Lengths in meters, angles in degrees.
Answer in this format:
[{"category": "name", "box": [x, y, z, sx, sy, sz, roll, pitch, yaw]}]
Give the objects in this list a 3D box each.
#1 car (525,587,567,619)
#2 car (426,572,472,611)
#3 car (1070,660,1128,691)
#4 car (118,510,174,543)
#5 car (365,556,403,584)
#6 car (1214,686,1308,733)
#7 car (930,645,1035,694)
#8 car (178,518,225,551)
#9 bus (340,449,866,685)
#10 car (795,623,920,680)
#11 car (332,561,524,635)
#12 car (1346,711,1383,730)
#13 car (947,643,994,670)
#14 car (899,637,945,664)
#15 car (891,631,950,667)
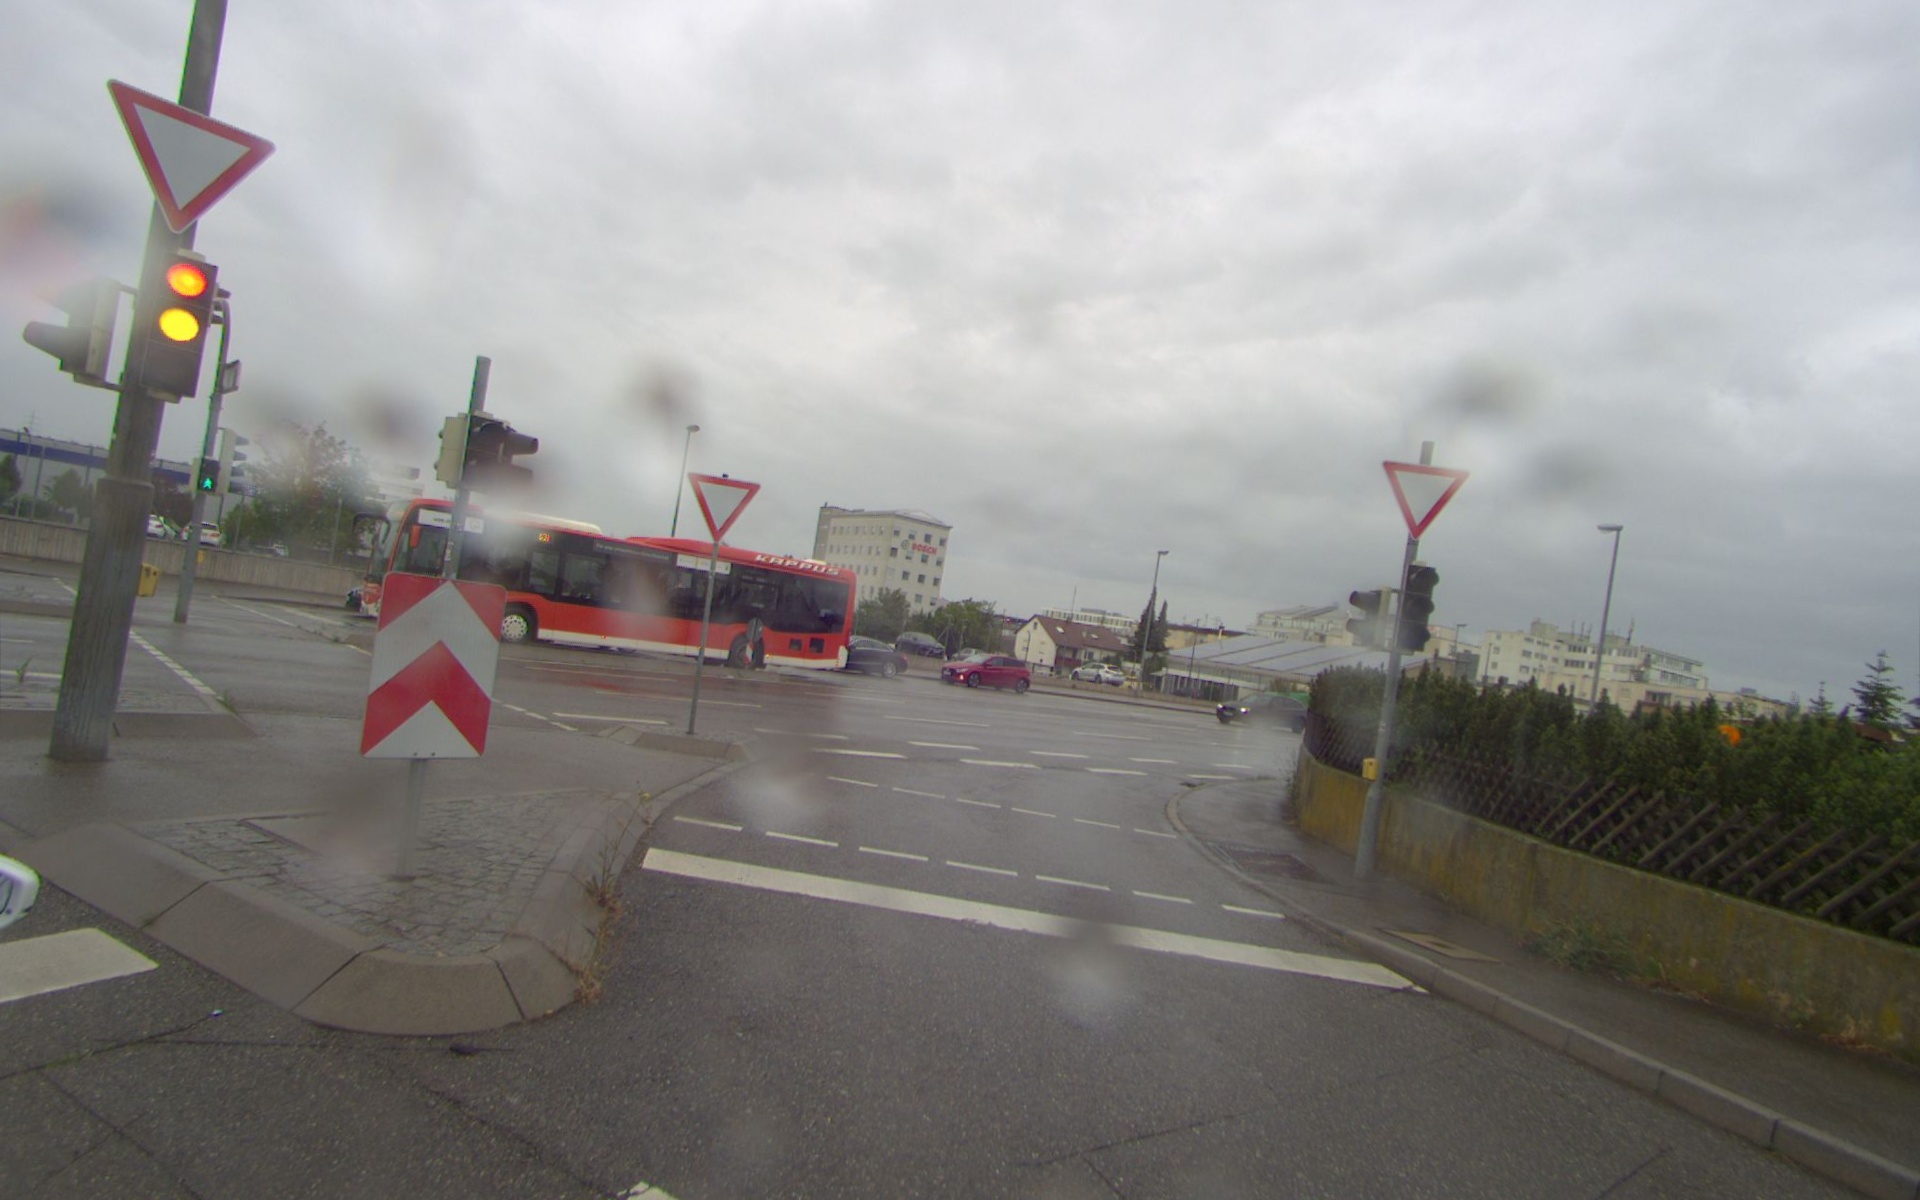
[{"category": "car", "box": [-32.470, 0.219, 78.858, 1.983, 2.037, 3.962, 8, -2, -36]}, {"category": "car", "box": [-31.170, -0.544, 61.306, 1.734, 2.037, 3.786, 8, -2, -37]}, {"category": "car", "box": [9.649, 5.222, 70.117, 1.976, 1.561, 3.977, 9, -2, -25]}, {"category": "car", "box": [-45.618, -4.107, 56.448, 1.805, 1.450, 4.071, 8, -2, -32]}, {"category": "car", "box": [-41.601, -2.181, 72.638, 1.912, 1.607, 3.754, 9, -2, -34]}, {"category": "car", "box": [12.668, 4.630, 42.255, 3.974, 1.515, 1.832, 9, -3, -41]}, {"category": "car", "box": [0.965, 2.905, 42.041, 3.948, 1.525, 1.853, 9, -2, -36]}, {"category": "car", "box": [-43.831, -3.753, 58.216, 1.847, 1.543, 4.066, 8, -2, -35]}, {"category": "bus", "box": [-8.388, -0.425, 25.849, 12.223, 3.614, 2.952, 12, -4, -41]}, {"category": "car", "box": [-3.843, 1.987, 38.124, 4.367, 1.555, 1.804, 10, -3, -42]}, {"category": "car", "box": [-14.851, -0.027, 28.241, 4.367, 1.370, 1.804, 10, -3, -42]}, {"category": "car", "box": [41.176, 12.291, 102.308, 3.616, 1.436, 1.720, 10, -2, -36]}, {"category": "car", "box": [0.861, 4.693, 83.583, 1.980, 1.636, 3.970, 9, -2, -30]}, {"category": "car", "box": [-3.106, 4.077, 81.295, 1.980, 1.636, 3.970, 9, -2, -30]}, {"category": "car", "box": [-2.447, 3.001, 61.721, 1.912, 1.684, 3.869, 9, -2, -29]}]
